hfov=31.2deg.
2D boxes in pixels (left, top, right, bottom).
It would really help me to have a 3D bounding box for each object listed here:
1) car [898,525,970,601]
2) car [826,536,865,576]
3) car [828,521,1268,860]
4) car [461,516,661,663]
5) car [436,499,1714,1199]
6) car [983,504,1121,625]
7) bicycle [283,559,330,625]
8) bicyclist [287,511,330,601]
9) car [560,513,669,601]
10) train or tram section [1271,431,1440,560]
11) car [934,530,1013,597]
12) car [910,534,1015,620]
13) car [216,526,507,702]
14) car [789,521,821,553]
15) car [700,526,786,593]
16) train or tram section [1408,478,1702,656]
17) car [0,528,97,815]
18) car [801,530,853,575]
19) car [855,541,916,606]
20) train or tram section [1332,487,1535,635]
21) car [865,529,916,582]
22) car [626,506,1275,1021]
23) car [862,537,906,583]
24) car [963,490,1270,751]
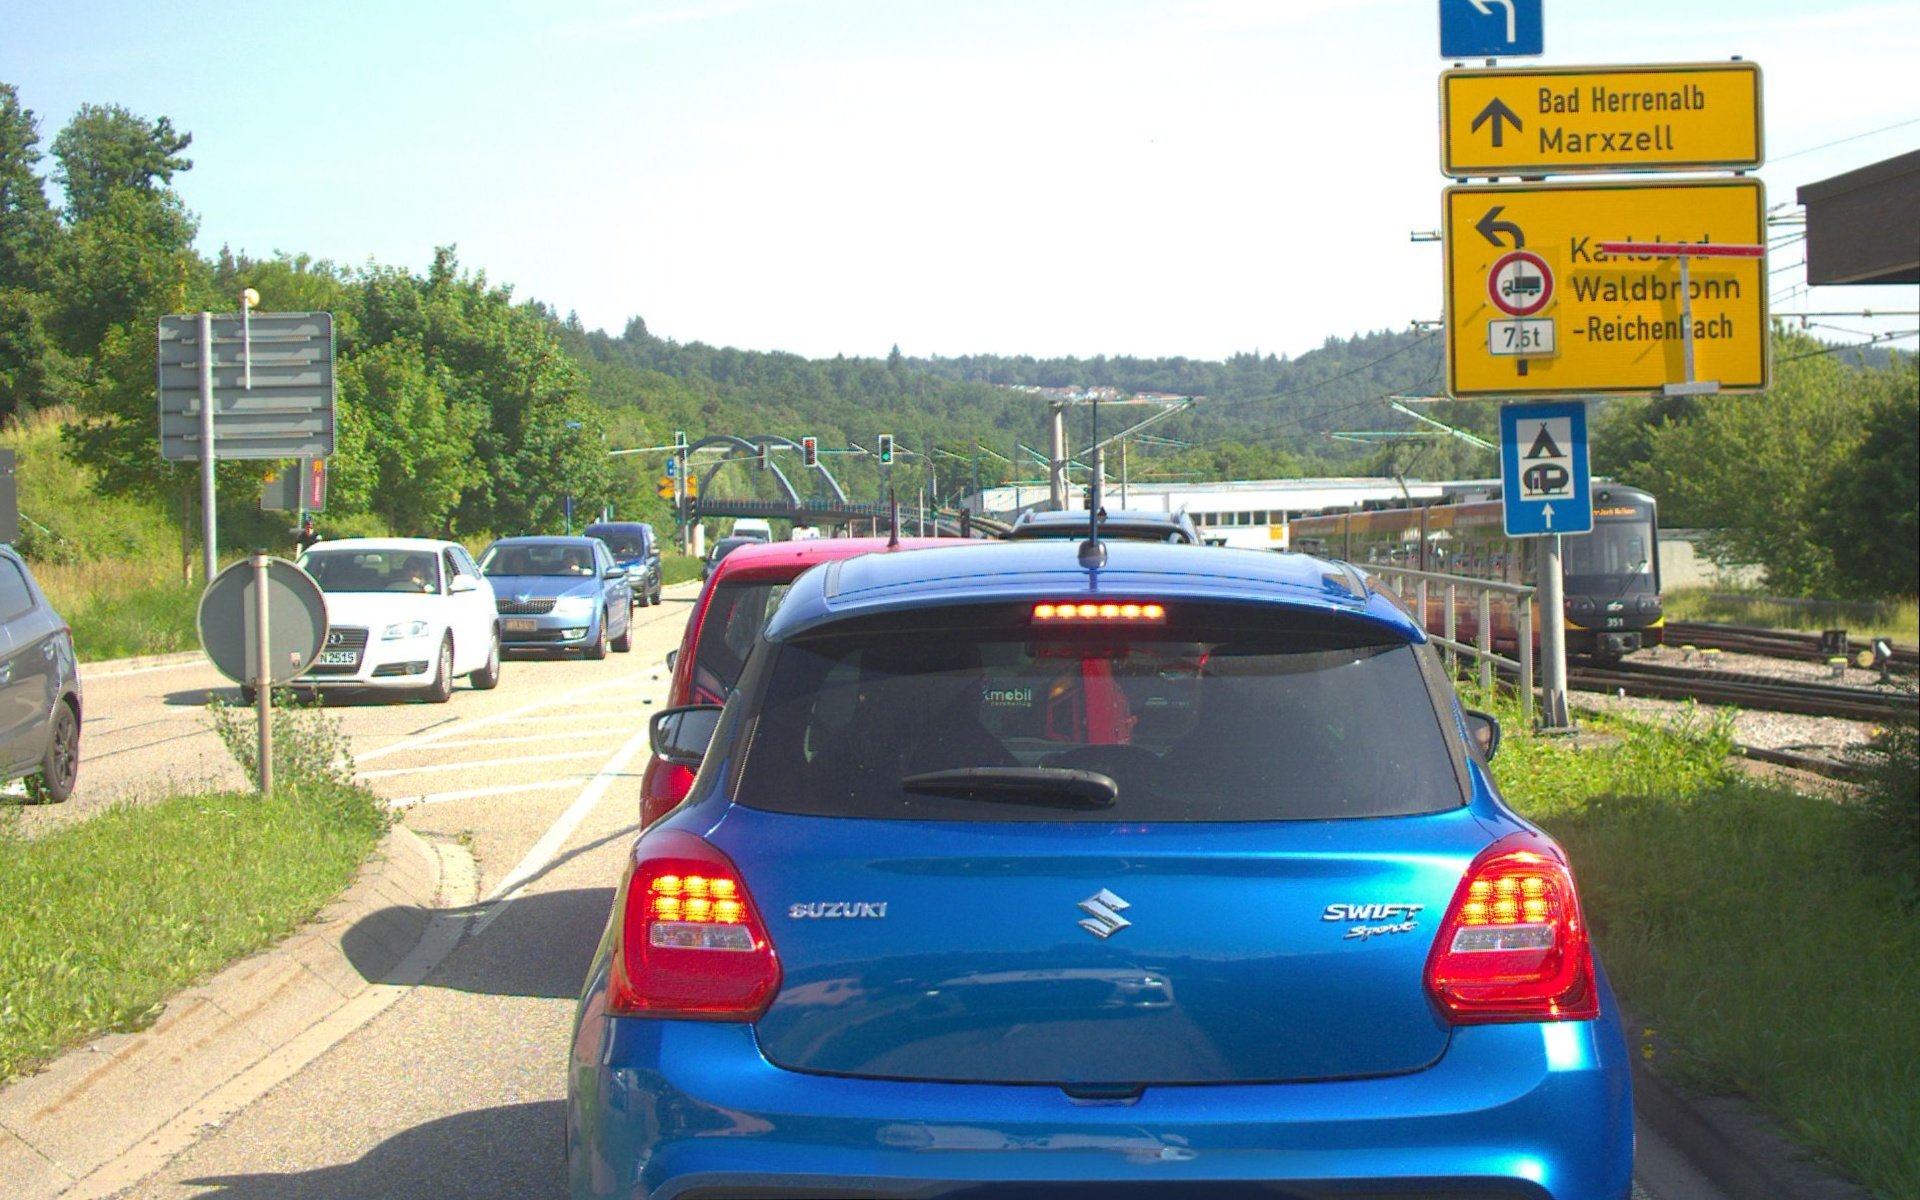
[{"bbox_3d":[-0.760,-1.082,99.160,1.993,2.006,4.001,2,2,-1],"label":"car"},{"bbox_3d":[-6.307,-2.439,190.089,1.993,2.006,4.001,2,2,-1],"label":"car"},{"bbox_3d":[0.441,0.363,17.979,1.993,1.526,4.602,-1,1,1],"label":"car"},{"bbox_3d":[-4.678,-0.162,40.794,1.832,1.463,3.811,2,3,1],"label":"car"},{"bbox_3d":[0.123,0.584,7.042,1.868,1.543,4.000,0,1,-1],"label":"car"},{"bbox_3d":[1.403,-0.579,53.059,1.993,1.730,4.000,2,1,1],"label":"car"},{"bbox_3d":[-11.089,-0.147,58.384,0.566,1.039,1.552,2,2,-3],"label":"bicycle"},{"bbox_3d":[-11.073,-0.756,58.460,0.629,1.502,0.506,2,2,-3],"label":"bicyclist"},{"bbox_3d":[-7.350,-0.940,73.418,1.832,1.707,3.811,2,2,1],"label":"car"},{"bbox_3d":[11.027,-2.861,97.148,2.755,3.352,12.050,1,1,-3],"label":"train or tram section"},{"bbox_3d":[0.361,-0.929,84.782,1.832,1.488,3.811,2,2,1],"label":"car"},{"bbox_3d":[0.076,-0.458,64.202,1.832,1.426,3.811,2,2,1],"label":"car"},{"bbox_3d":[-5.250,0.075,30.631,1.832,1.364,3.950,1,2,1],"label":"car"},{"bbox_3d":[-10.630,-4.320,235.505,1.993,2.137,4.720,1,1,-1],"label":"car"},{"bbox_3d":[-5.091,-0.981,81.070,1.832,1.426,3.811,2,2,-1],"label":"car"},{"bbox_3d":[12.223,-0.771,72.409,2.855,3.353,14.357,0,1,-3],"label":"train or tram section"},{"bbox_3d":[-5.623,0.351,17.031,1.672,1.436,3.840,1,1,1],"label":"car"},{"bbox_3d":[-5.408,-1.946,140.113,1.993,1.777,4.000,1,1,-1],"label":"car"},{"bbox_3d":[-2.506,-0.914,116.722,1.993,2.006,4.001,2,2,-1],"label":"car"},{"bbox_3d":[11.584,-0.978,85.360,2.786,3.352,12.049,1,1,-3],"label":"train or tram section"},{"bbox_3d":[-2.843,-1.836,141.317,1.993,2.006,4.001,2,2,-1],"label":"car"},{"bbox_3d":[0.001,0.476,12.711,1.993,1.566,4.000,1,1,1],"label":"car"},{"bbox_3d":[-3.612,-1.911,163.268,1.993,2.006,4.001,2,2,-1],"label":"car"},{"bbox_3d":[1.078,0.084,25.168,1.993,1.681,4.497,2,1,1],"label":"car"}]
